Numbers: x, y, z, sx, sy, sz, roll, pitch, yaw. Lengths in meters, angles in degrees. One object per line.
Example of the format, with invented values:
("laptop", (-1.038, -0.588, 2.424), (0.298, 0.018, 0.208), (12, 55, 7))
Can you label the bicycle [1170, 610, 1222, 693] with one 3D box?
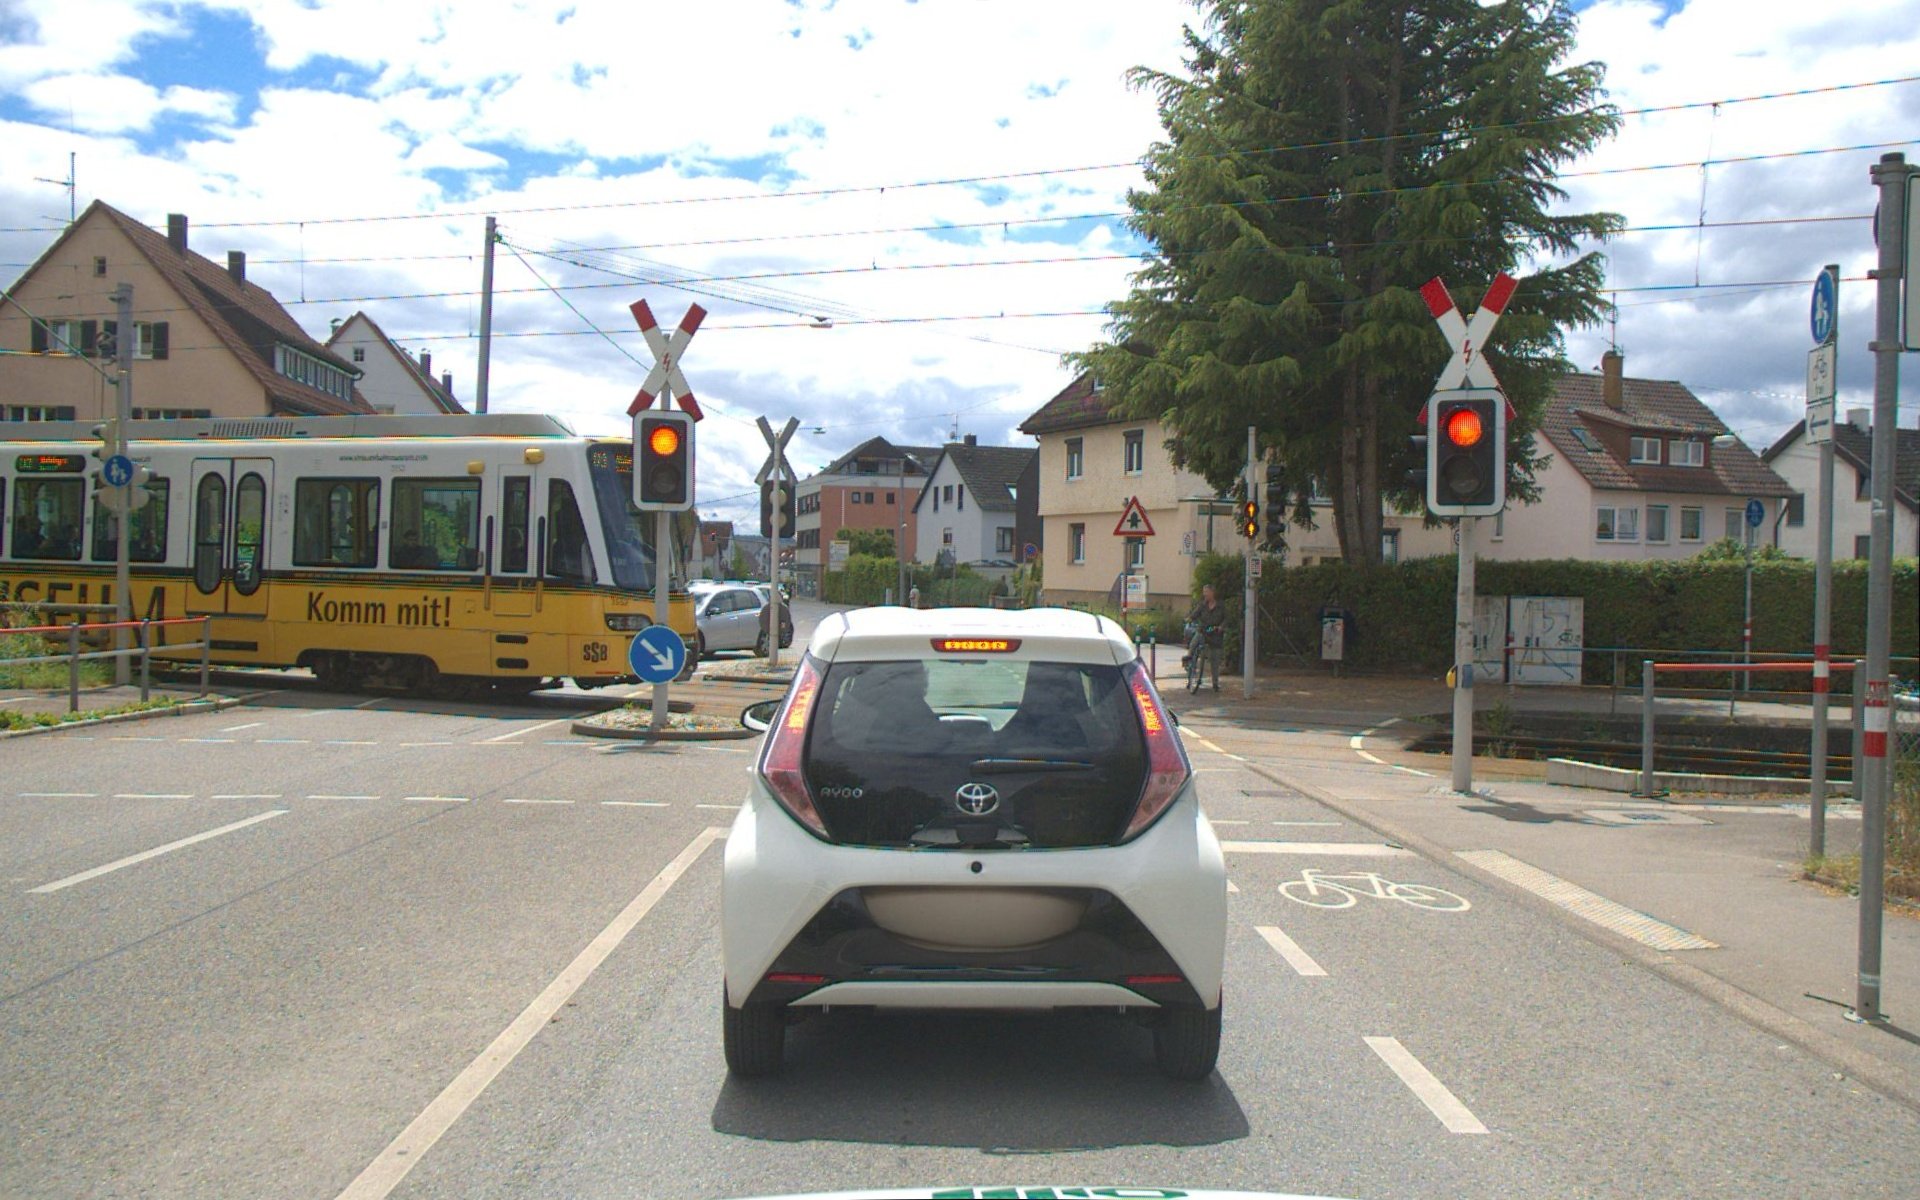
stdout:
("bicycle", (3.728, 0.797, 26.209), (0.448, 1.192, 1.477), (-2, 3, -6))

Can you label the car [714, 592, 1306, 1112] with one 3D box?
("car", (0.027, 0.718, 6.593), (1.687, 1.467, 3.705), (1, 0, -4))

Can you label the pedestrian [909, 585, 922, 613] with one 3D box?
("pedestrian", (-2.553, -0.046, 95.115), (0.711, 1.604, 0.803), (2, 0, -1))

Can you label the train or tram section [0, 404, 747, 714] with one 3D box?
("train or tram section", (-12.141, -0.768, 25.071), (18.670, 3.769, 2.919), (2, 1, 22))

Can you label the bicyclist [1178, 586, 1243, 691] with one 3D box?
("bicyclist", (3.959, 0.592, 26.191), (0.825, 1.580, 0.755), (-2, 3, -7))

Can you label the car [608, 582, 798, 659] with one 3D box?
("car", (-5.309, 0.418, 34.673), (1.868, 1.466, 4.093), (2, 0, 27))
